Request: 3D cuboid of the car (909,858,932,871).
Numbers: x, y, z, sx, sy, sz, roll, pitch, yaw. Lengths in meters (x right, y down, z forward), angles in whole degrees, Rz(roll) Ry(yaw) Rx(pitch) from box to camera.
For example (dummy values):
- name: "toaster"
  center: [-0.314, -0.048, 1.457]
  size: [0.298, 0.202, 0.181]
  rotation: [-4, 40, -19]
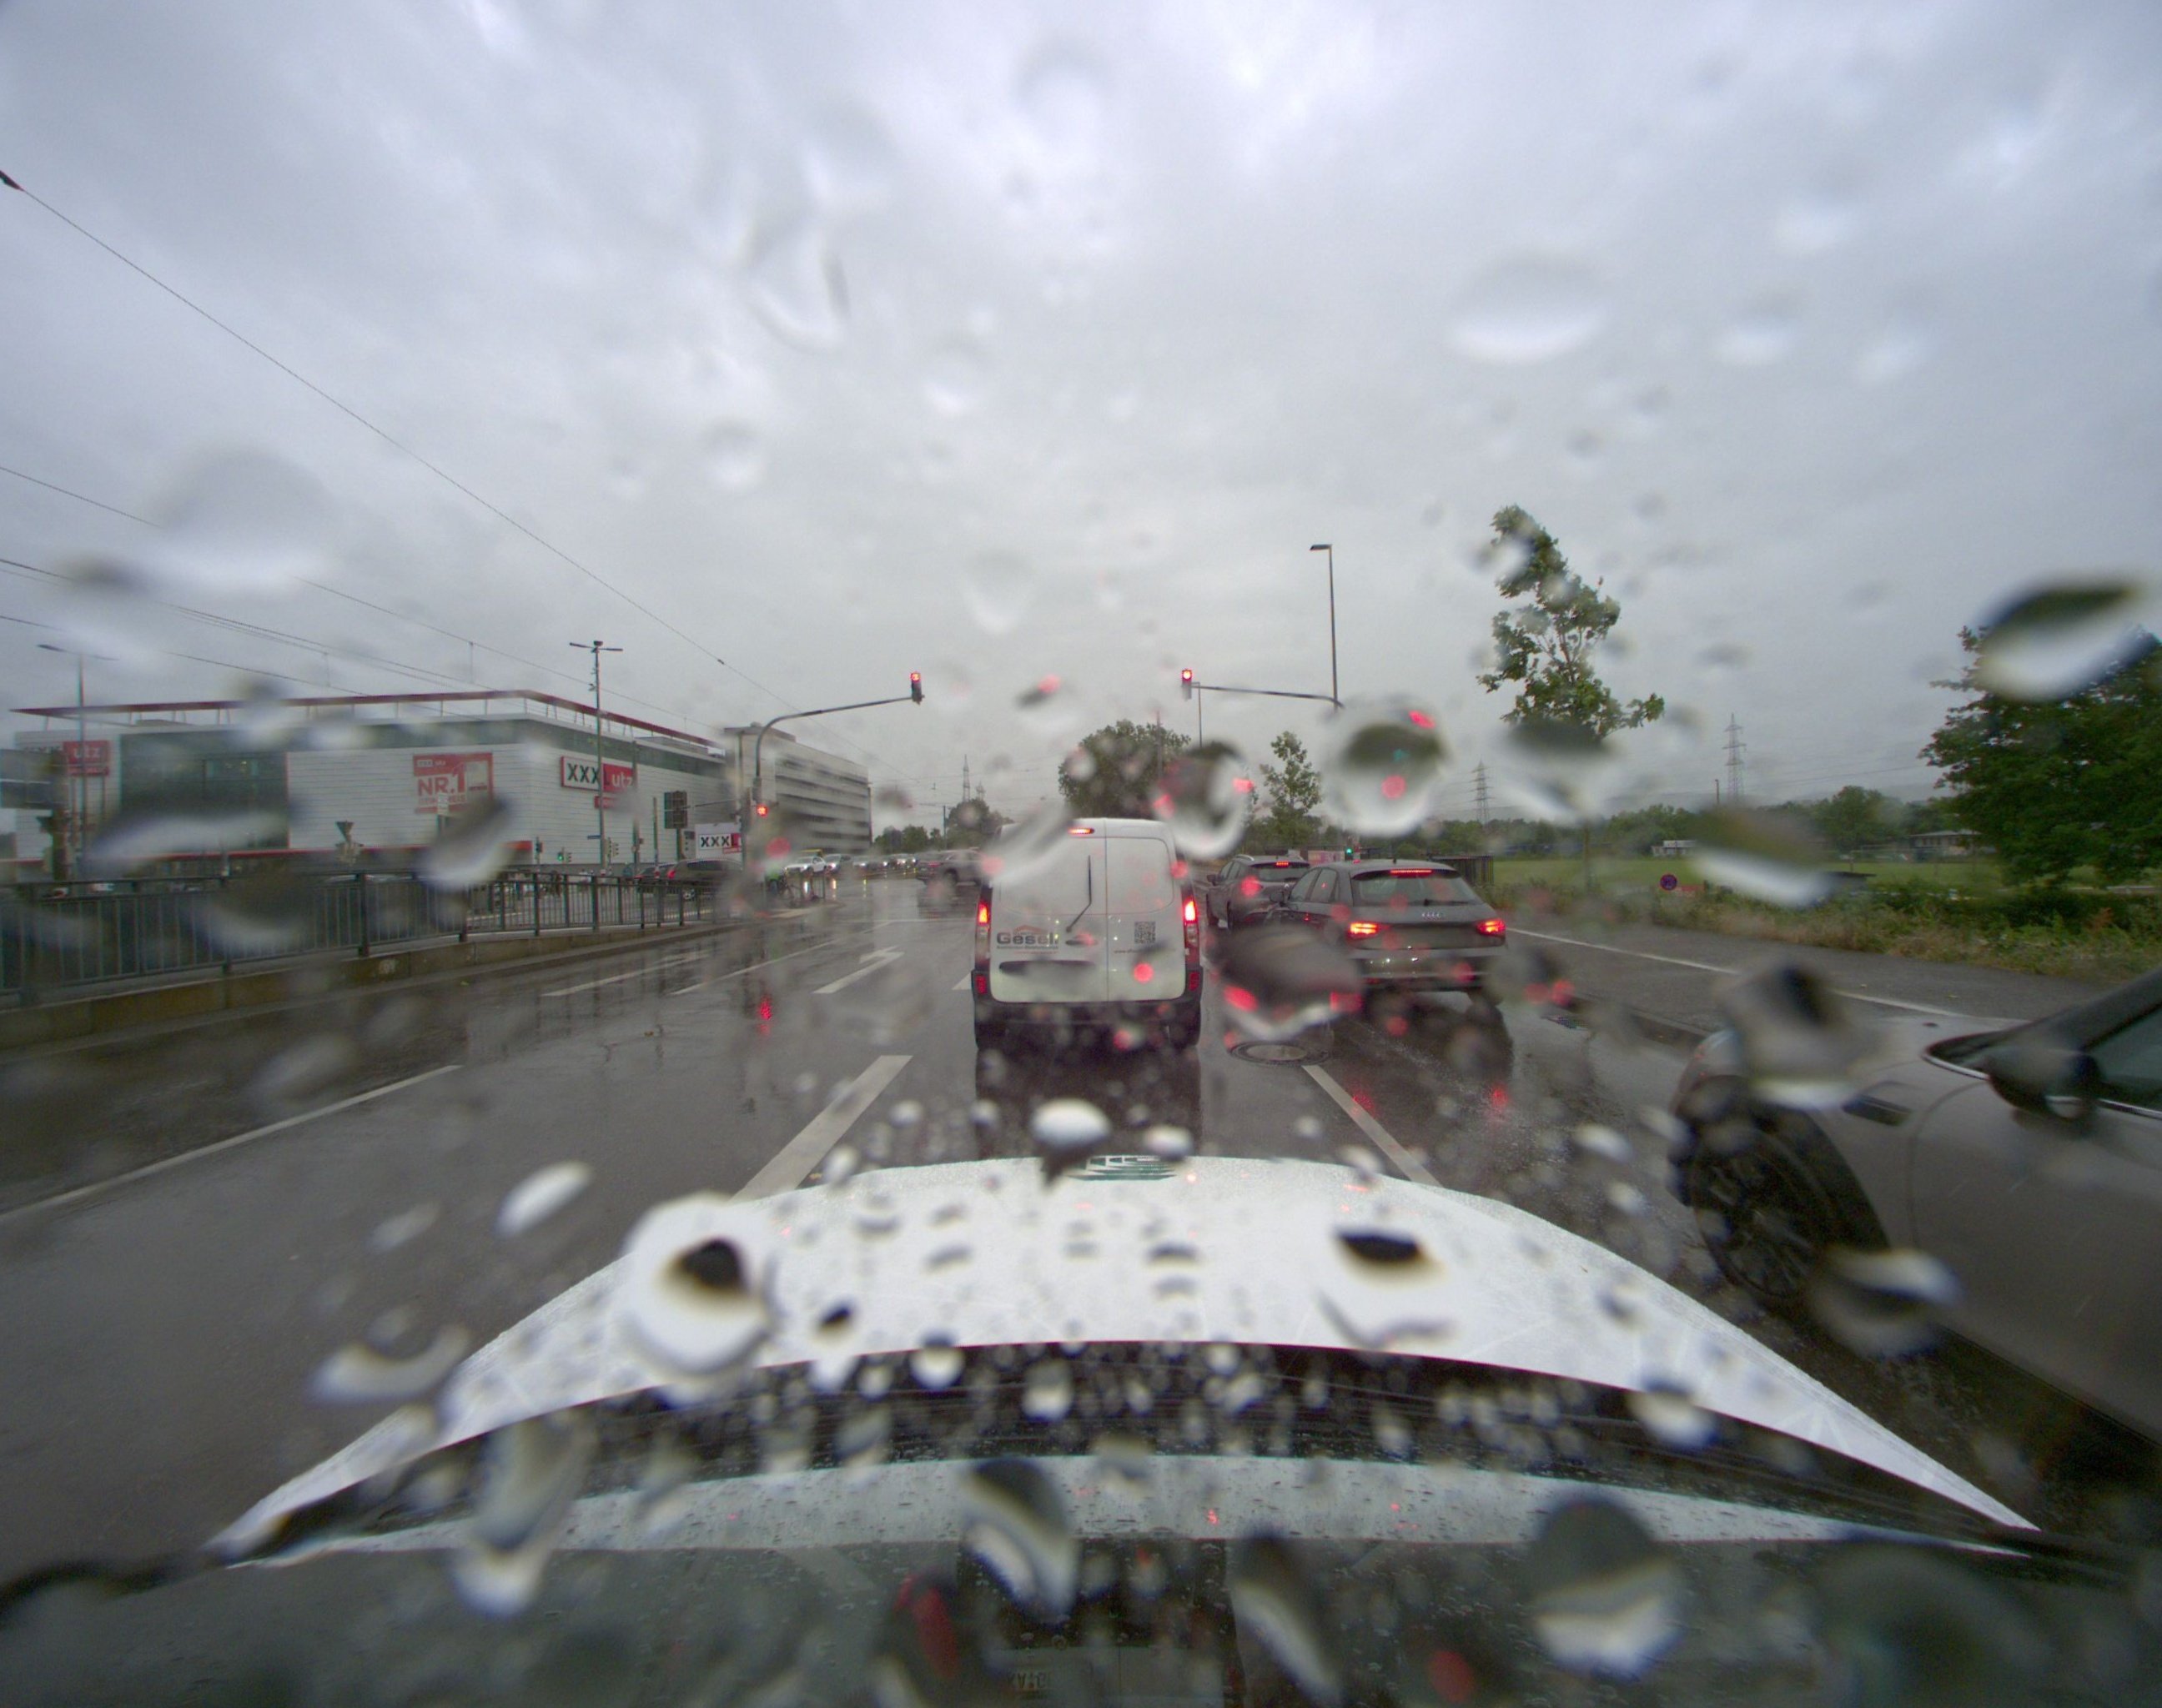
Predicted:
- name: "car"
  center: [-18.088, 1.174, 91.815]
  size: [1.704, 1.426, 3.810]
  rotation: [1, -1, 2]

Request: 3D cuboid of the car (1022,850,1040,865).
- name: "car"
  center: [-5.835, 0.470, 95.300]
  size: [1.942, 1.662, 4.461]
  rotation: [1, -1, -1]

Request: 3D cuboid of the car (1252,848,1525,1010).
- name: "car"
  center: [3.095, 0.701, 9.005]
  size: [1.592, 1.366, 3.629]
  rotation: [-2, -1, 0]

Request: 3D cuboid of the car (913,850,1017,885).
- name: "car"
  center: [-5.237, 0.647, 37.139]
  size: [4.534, 1.502, 1.693]
  rotation: [2, -1, -42]

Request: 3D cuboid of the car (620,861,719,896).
- name: "car"
  center: [-18.063, 1.065, 35.842]
  size: [1.630, 1.398, 3.475]
  rotation: [2, 0, 40]

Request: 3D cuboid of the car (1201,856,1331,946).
- name: "car"
  center: [3.382, 0.795, 15.612]
  size: [1.678, 1.508, 3.921]
  rotation: [0, 0, 1]

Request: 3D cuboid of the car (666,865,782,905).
- name: "car"
  center: [-13.670, 1.204, 31.448]
  size: [3.923, 1.398, 1.526]
  rotation: [2, 0, -19]

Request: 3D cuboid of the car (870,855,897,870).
- name: "car"
  center: [-18.874, 0.829, 78.029]
  size: [1.554, 1.426, 3.570]
  rotation: [1, -1, 2]

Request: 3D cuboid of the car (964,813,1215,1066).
- name: "car"
  center: [0.012, 0.570, 7.810]
  size: [1.749, 1.750, 4.166]
  rotation: [-1, 1, -2]

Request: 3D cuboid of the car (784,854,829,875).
- name: "car"
  center: [-19.431, 0.775, 57.806]
  size: [1.704, 1.426, 3.810]
  rotation: [1, -1, 2]

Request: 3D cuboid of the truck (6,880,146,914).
- name: "truck"
  center: [-61.120, 2.618, 49.601]
  size: [5.859, 1.942, 2.012]
  rotation: [1, -1, 0]

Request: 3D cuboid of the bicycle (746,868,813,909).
- name: "bicycle"
  center: [-8.805, 0.977, 23.790]
  size: [1.768, 1.137, 0.514]
  rotation: [0, -1, -41]

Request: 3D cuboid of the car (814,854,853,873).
- name: "car"
  center: [-19.334, 0.735, 63.714]
  size: [1.704, 1.426, 3.810]
  rotation: [1, -1, 2]

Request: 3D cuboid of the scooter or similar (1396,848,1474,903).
- name: "scooter or similar"
  center: [8.522, 0.477, 19.759]
  size: [0.687, 1.211, 3.022]
  rotation: [-2, 0, 3]

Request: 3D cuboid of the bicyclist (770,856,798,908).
- name: "bicyclist"
  center: [-8.714, 0.806, 23.886]
  size: [0.608, 1.491, 0.593]
  rotation: [0, -1, -39]

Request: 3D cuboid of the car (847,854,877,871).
- name: "car"
  center: [-19.048, 0.740, 70.948]
  size: [1.554, 1.426, 3.570]
  rotation: [1, -1, 2]

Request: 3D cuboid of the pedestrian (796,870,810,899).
- name: "pedestrian"
  center: [-8.828, 0.965, 25.869]
  size: [0.314, 0.897, 0.380]
  rotation: [1, 0, -1]

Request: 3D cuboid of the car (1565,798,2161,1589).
- name: "car"
  center: [2.915, 0.654, 1.578]
  size: [1.697, 1.508, 3.879]
  rotation: [0, -1, 1]

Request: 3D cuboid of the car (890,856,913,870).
- name: "car"
  center: [-18.607, 0.966, 84.514]
  size: [1.554, 1.426, 3.570]
  rotation: [1, -1, 2]
